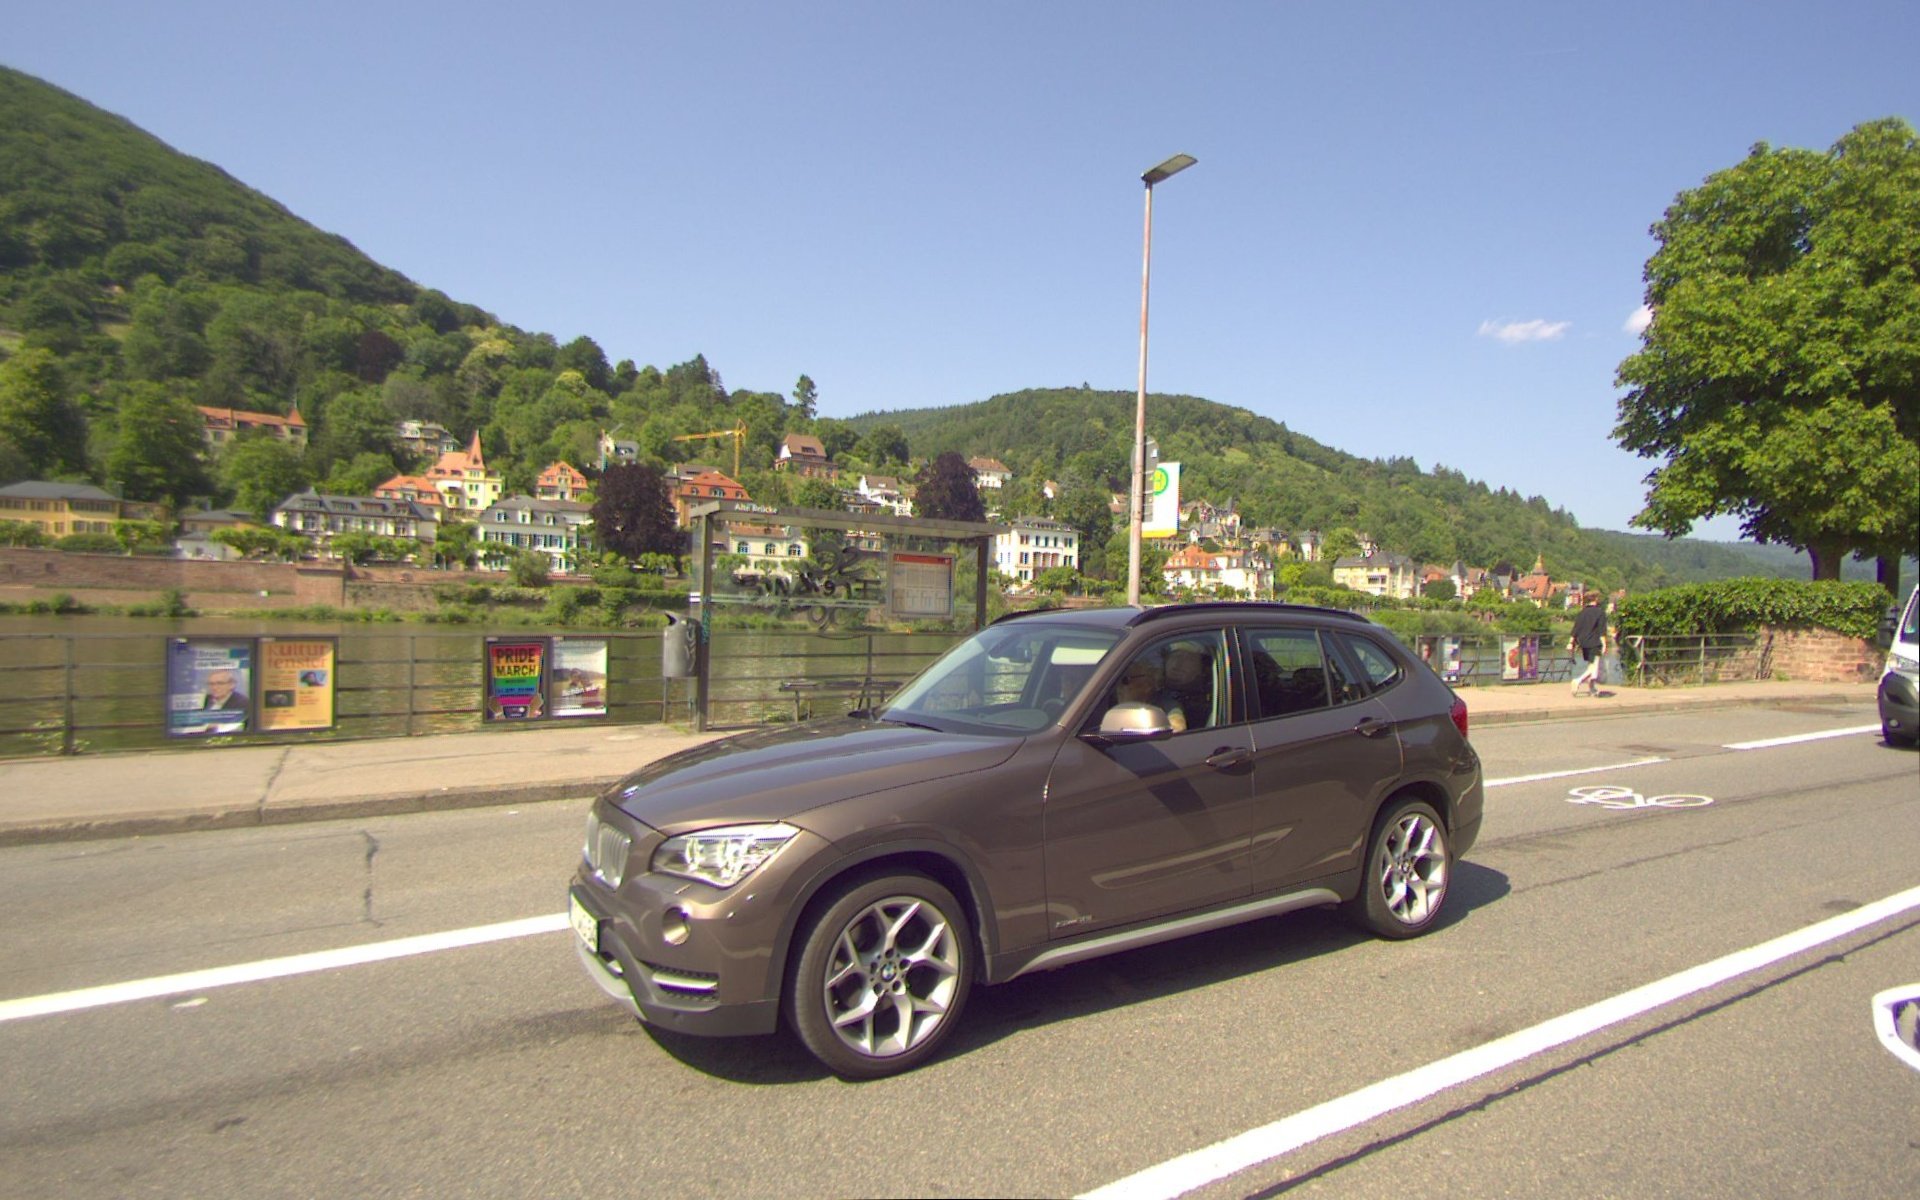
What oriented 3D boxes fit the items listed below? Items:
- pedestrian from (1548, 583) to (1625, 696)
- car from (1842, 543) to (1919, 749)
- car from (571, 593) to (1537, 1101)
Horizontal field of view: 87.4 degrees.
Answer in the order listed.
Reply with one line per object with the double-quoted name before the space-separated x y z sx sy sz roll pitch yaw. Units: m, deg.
"pedestrian" 11.134 0.702 17.853 0.997 1.943 0.749 3 -2 -30
"car" 13.519 0.543 12.556 5.800 2.332 2.086 0 -1 -31
"car" 0.595 0.716 4.701 4.296 1.416 1.806 0 -1 -31
